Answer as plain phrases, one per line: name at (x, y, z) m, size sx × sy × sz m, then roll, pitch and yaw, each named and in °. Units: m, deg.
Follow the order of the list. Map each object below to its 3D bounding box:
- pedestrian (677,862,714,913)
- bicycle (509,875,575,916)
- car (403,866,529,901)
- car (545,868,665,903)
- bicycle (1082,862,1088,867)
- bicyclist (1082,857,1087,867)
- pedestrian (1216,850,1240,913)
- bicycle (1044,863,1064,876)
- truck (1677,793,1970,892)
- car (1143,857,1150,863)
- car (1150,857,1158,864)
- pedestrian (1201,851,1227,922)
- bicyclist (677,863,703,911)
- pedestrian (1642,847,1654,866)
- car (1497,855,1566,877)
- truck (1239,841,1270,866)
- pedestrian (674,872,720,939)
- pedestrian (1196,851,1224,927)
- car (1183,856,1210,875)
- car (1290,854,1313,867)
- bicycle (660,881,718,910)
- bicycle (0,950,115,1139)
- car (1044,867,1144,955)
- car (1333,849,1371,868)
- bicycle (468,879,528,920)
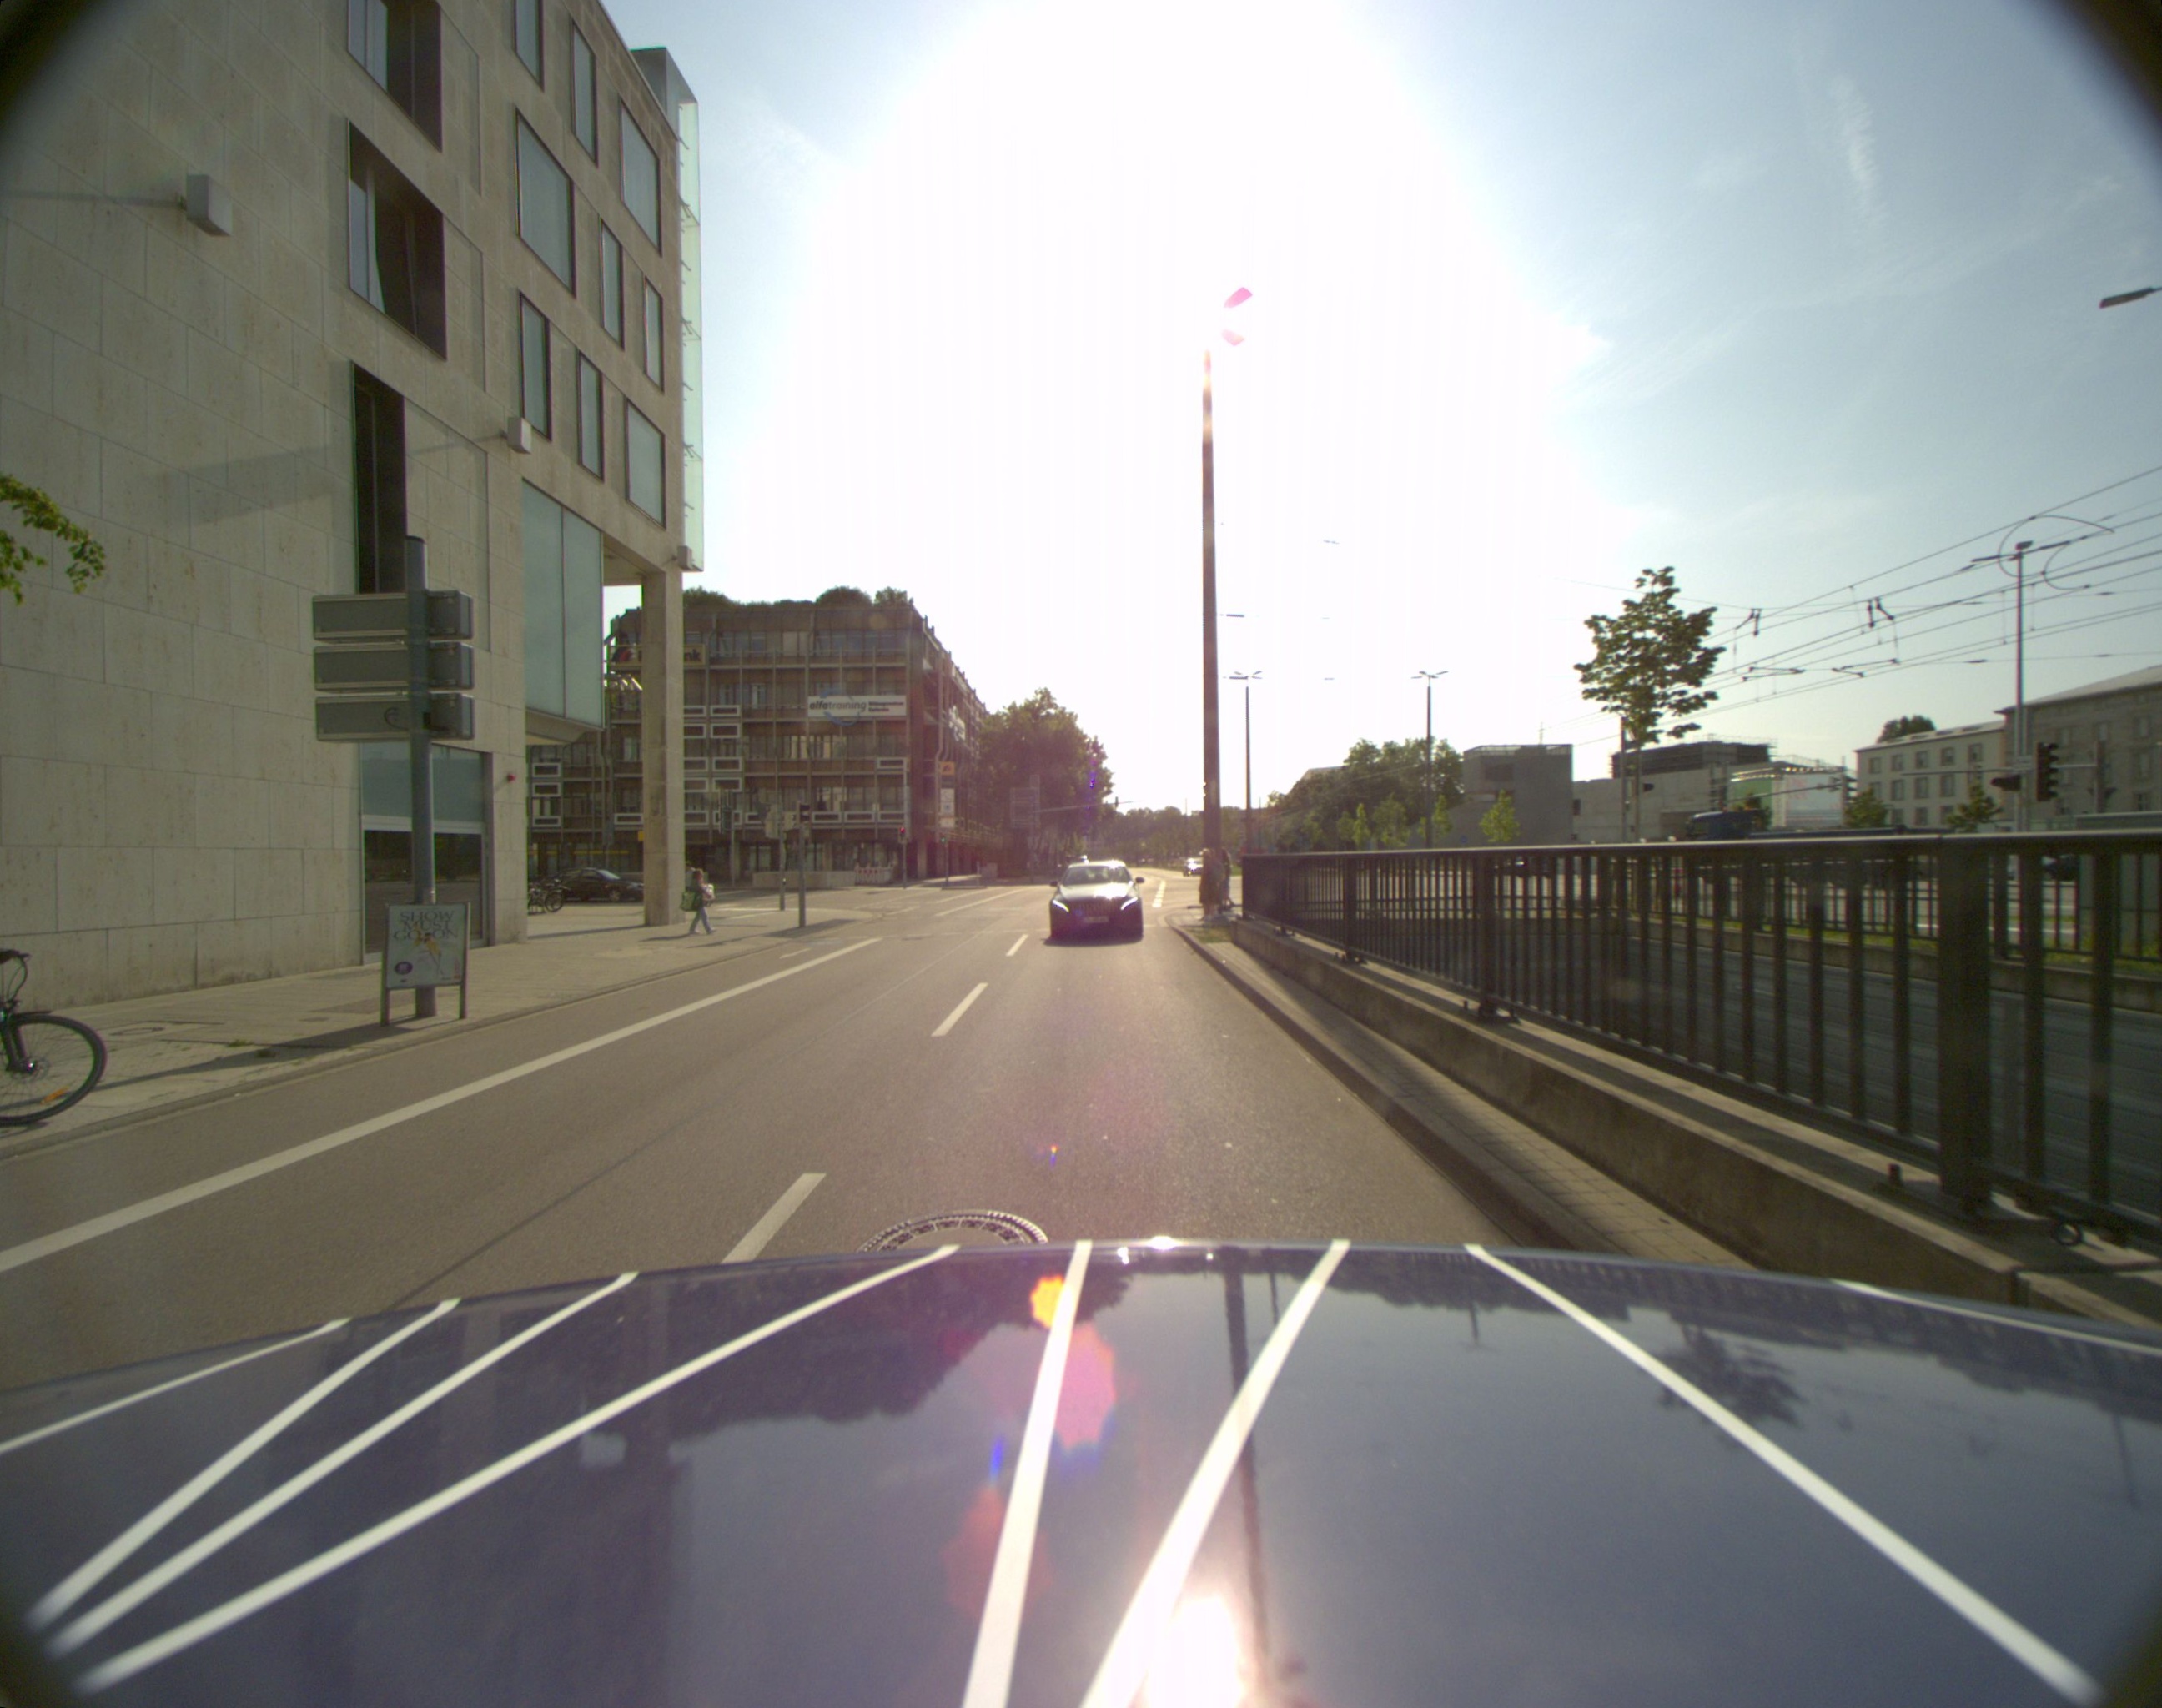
pedestrian at (-13.125, 1.125, 25.867) m, size 0.644 × 1.701 × 0.990 m, roll -1°, pitch 0°, yaw 9°
bicycle at (-17.898, 1.354, 25.308) m, size 0.614 × 1.230 × 2.070 m, roll -1°, pitch 0°, yaw 3°
car at (-25.926, 1.227, 32.124) m, size 3.909 × 1.394 × 1.880 m, roll -1°, pitch 0°, yaw 6°
car at (-19.826, 1.291, 31.739) m, size 3.901 × 1.358 × 1.878 m, roll 0°, pitch 1°, yaw 5°
bicycle at (0.589, 1.552, 113.367) m, size 0.630 × 0.702 × 1.808 m, roll -1°, pitch 0°, yaw -8°
bicyclist at (0.568, 1.197, 113.430) m, size 0.612 × 1.504 × 0.813 m, roll -1°, pitch 0°, yaw -9°
pedestrian at (3.866, 0.719, 20.068) m, size 0.468 × 1.640 × 0.777 m, roll -1°, pitch 0°, yaw 1°
bicycle at (-2.529, 1.447, 72.101) m, size 1.831 × 1.181 × 0.537 m, roll 0°, pitch 0°, yaw 6°
truck at (30.587, -0.388, 32.134) m, size 3.031 × 3.565 × 8.885 m, roll 0°, pitch 0°, yaw -7°
car at (20.860, 1.893, 241.006) m, size 1.998 × 1.523 × 4.000 m, roll -2°, pitch 0°, yaw 1°
car at (22.097, 2.081, 230.602) m, size 1.998 × 2.002 × 4.000 m, roll -2°, pitch 0°, yaw 1°
pedestrian at (3.123, 0.747, 17.919) m, size 0.468 × 1.640 × 0.777 m, roll -1°, pitch 0°, yaw 1°
bicyclist at (-14.195, 1.190, 27.609) m, size 0.636 × 1.727 × 0.582 m, roll -1°, pitch 0°, yaw 1°
pedestrian at (49.378, 0.227, 66.170) m, size 0.606 × 1.687 × 0.538 m, roll -1°, pitch 0°, yaw 6°
car at (29.262, 0.767, 49.532) m, size 1.600 × 1.339 × 4.422 m, roll 0°, pitch 0°, yaw -4°
truck at (28.017, -0.057, 123.069) m, size 2.978 × 3.786 × 10.424 m, roll -1°, pitch 0°, yaw 2°
pedestrian at (-8.630, 1.144, 17.073) m, size 0.709 × 1.478 × 0.605 m, roll -1°, pitch 0°, yaw 0°
pedestrian at (2.869, 0.772, 16.922) m, size 0.468 × 1.640 × 0.777 m, roll -1°, pitch 0°, yaw 1°
car at (9.546, 0.934, 63.060) m, size 1.708 × 1.424 × 3.870 m, roll -3°, pitch -1°, yaw 2°
car at (27.731, 0.857, 95.489) m, size 1.644 × 1.592 × 4.000 m, roll 0°, pitch 0°, yaw -2°
bicycle at (-14.241, 1.500, 27.612) m, size 1.806 × 1.011 × 0.612 m, roll -1°, pitch 0°, yaw 1°
bicycle at (-7.595, 1.244, 4.922) m, size 1.843 × 1.106 × 0.687 m, roll -2°, pitch 0°, yaw 3°
car at (0.384, 1.029, 15.705) m, size 1.716 × 1.429 × 5.058 m, roll -1°, pitch 0°, yaw 4°
car at (26.885, 0.451, 75.512) m, size 1.621 × 1.778 × 4.516 m, roll -1°, pitch 0°, yaw -7°
bicycle at (-18.569, 1.433, 24.249) m, size 0.501 × 1.192 × 1.793 m, roll -1°, pitch 0°, yaw 0°
